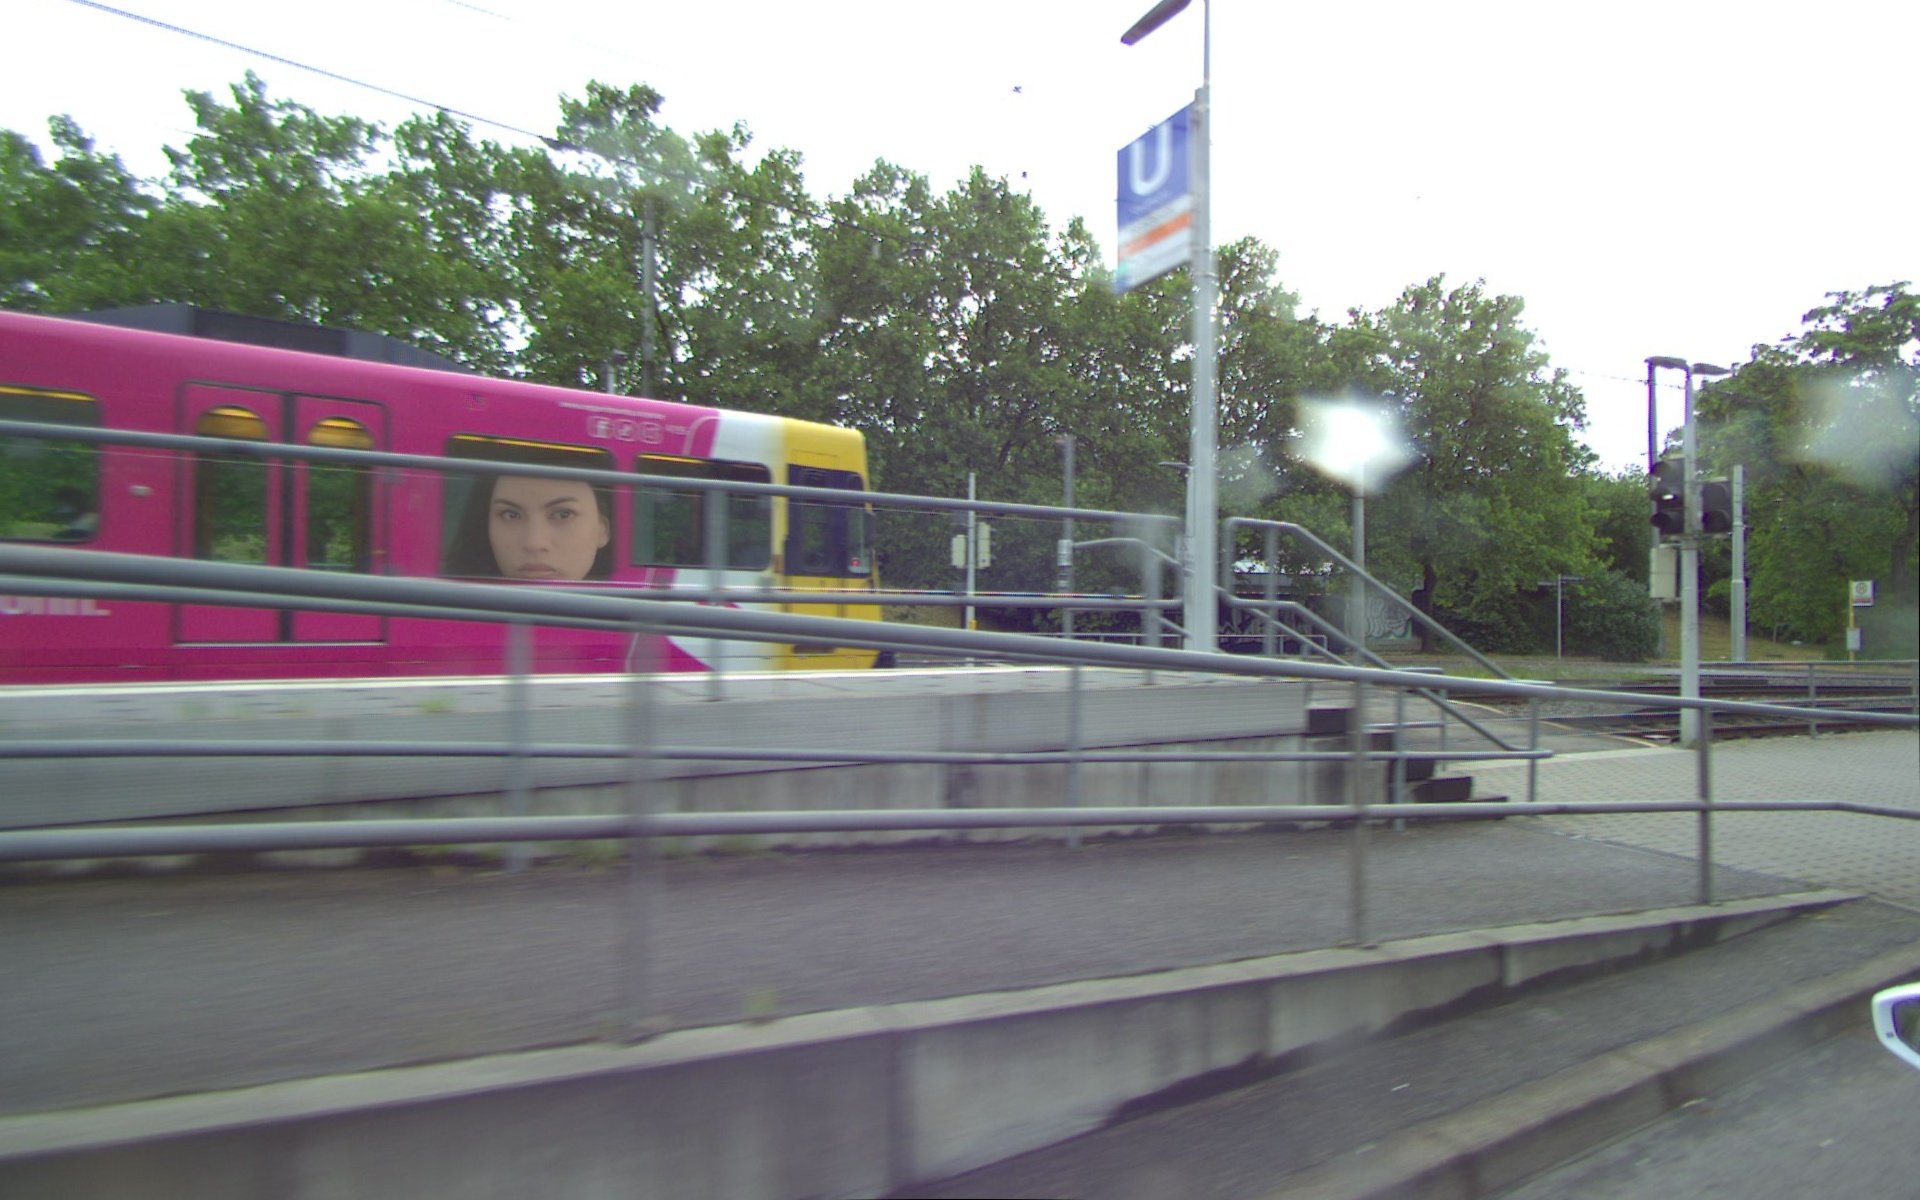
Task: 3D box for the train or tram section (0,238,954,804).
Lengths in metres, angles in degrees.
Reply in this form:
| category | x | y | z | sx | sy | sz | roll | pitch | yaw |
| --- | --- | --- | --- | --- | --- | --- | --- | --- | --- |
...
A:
| category | x | y | z | sx | sy | sz | roll | pitch | yaw |
| --- | --- | --- | --- | --- | --- | --- | --- | --- | --- |
| train or tram section | -8.781 | -0.646 | 7.494 | 19.138 | 4.013 | 2.849 | 3 | 0 | -35 |
